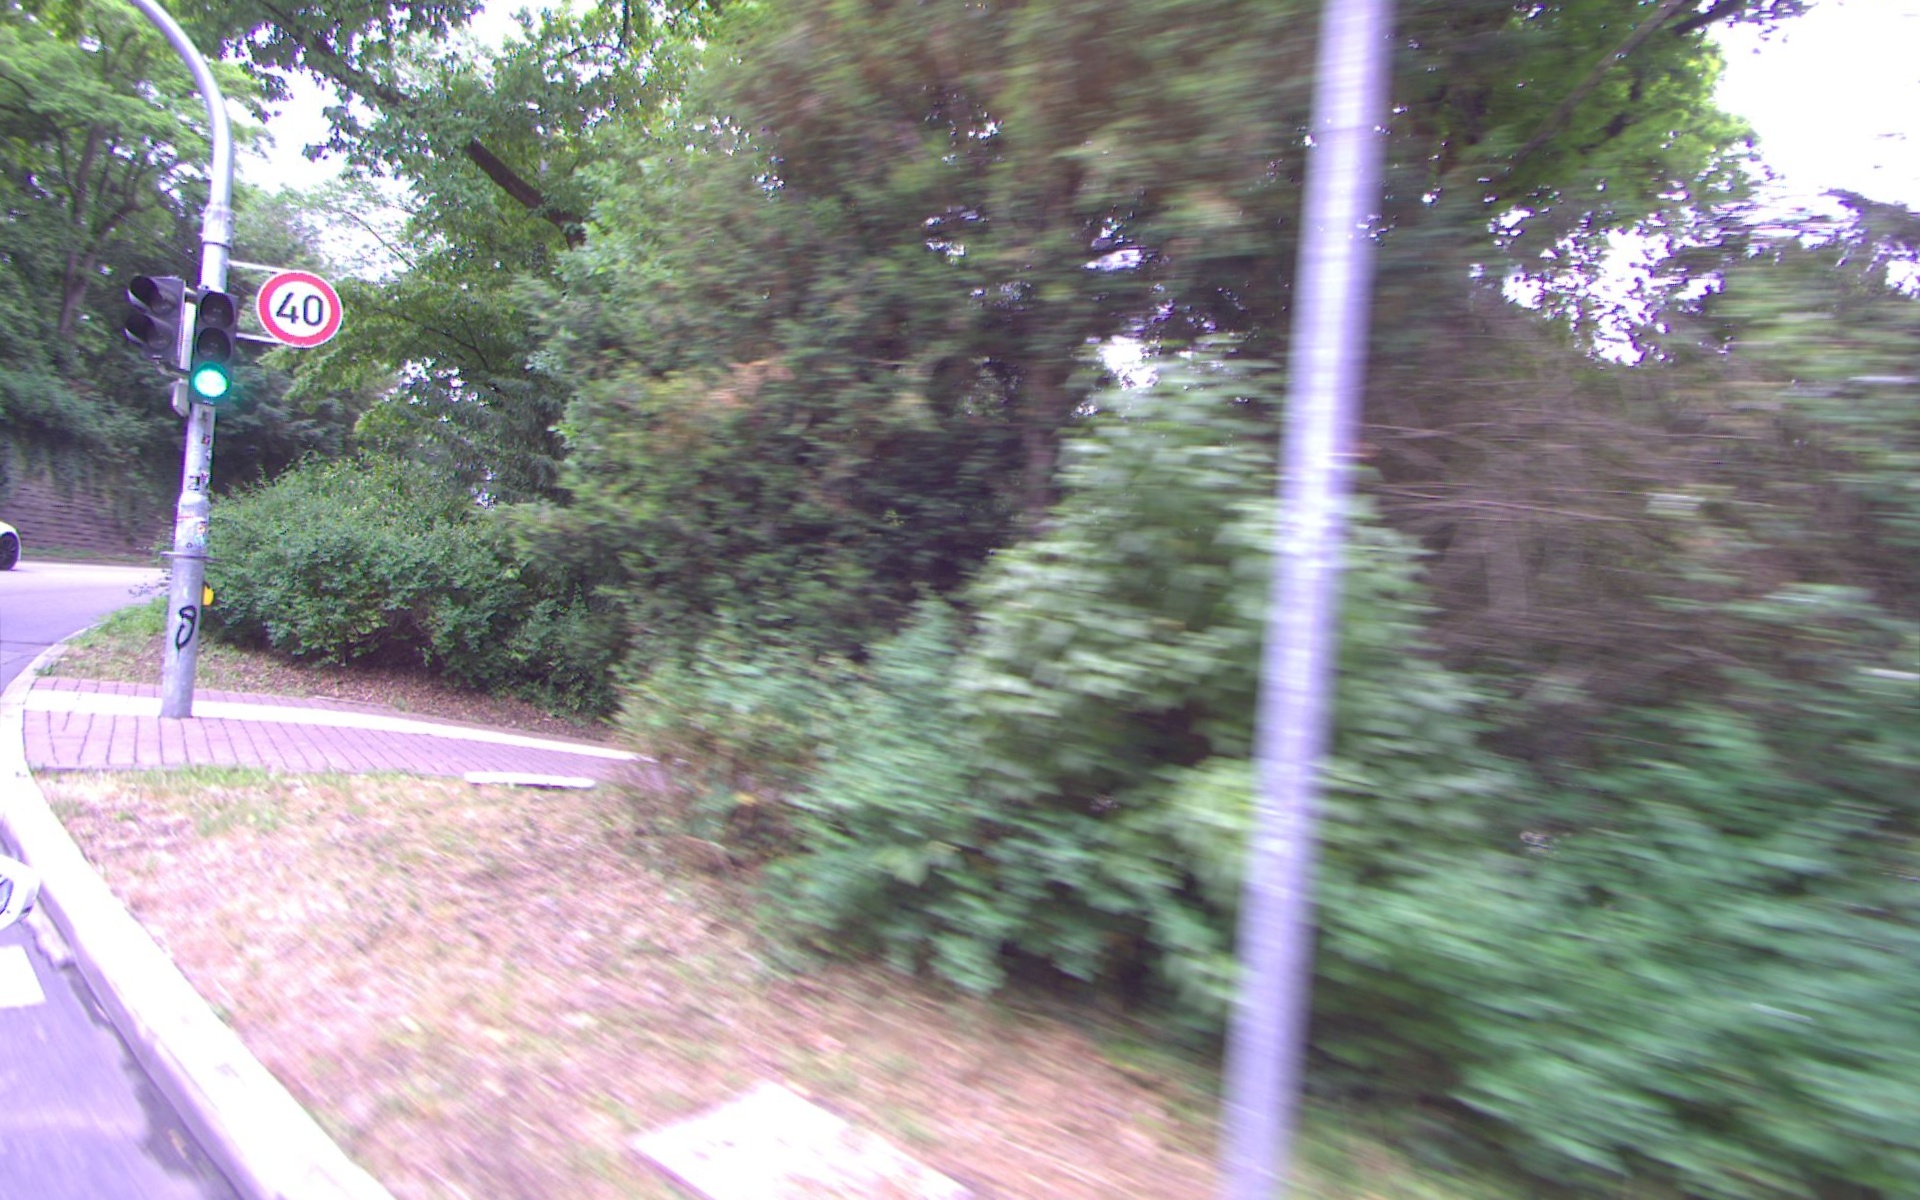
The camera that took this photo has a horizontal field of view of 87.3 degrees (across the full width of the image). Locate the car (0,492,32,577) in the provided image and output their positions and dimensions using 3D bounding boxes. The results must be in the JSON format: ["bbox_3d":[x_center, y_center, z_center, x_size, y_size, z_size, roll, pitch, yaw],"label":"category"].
[{"bbox_3d":[-18.261,-1.324,16.797,1.841,1.552,4.765,7,-1,-14],"label":"car"}]
